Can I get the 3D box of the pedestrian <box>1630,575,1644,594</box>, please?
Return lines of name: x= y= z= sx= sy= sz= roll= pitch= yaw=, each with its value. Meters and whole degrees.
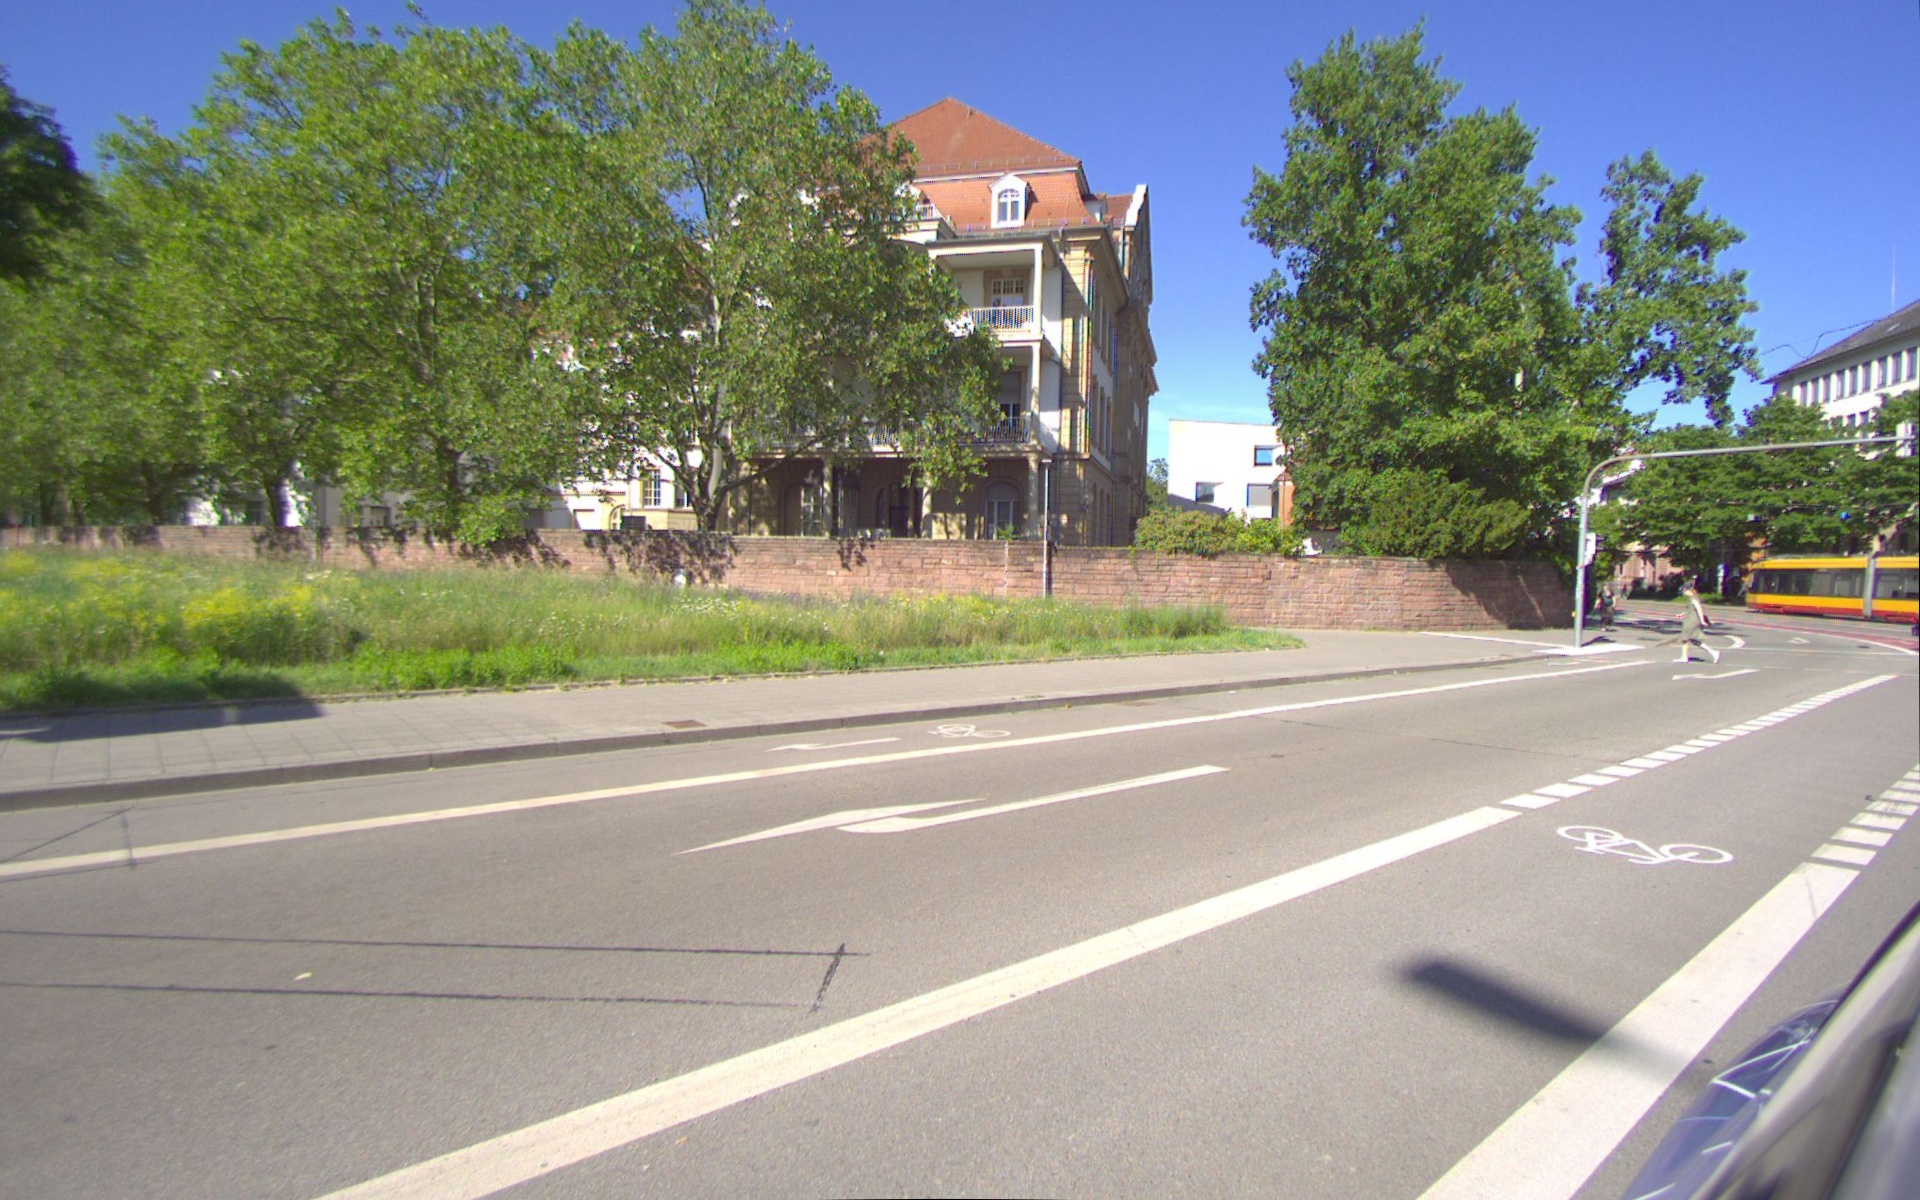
pedestrian: x=65.946 y=-1.530 z=98.616 sx=0.745 sy=1.835 sz=0.978 roll=1 pitch=1 yaw=9

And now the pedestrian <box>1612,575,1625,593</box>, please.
pedestrian: x=68.684 y=-1.643 z=105.490 sx=0.745 sy=1.835 sz=0.978 roll=1 pitch=1 yaw=10

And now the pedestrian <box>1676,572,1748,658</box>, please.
pedestrian: x=17.254 y=0.317 z=23.258 sx=1.221 sy=1.878 sz=0.817 roll=2 pitch=2 yaw=34

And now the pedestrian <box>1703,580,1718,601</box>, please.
pedestrian: x=68.240 y=-0.860 z=92.024 sx=0.745 sy=1.835 sz=0.978 roll=0 pitch=2 yaw=-43

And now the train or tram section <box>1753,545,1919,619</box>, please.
train or tram section: x=49.397 y=-1.069 z=56.682 sx=2.760 sy=3.645 sz=12.489 roll=2 pitch=2 yaw=13

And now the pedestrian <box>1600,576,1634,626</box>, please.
pedestrian: x=23.695 y=0.027 z=36.491 sx=0.935 sy=1.742 sz=0.983 roll=2 pitch=2 yaw=37

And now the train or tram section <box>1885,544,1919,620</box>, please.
train or tram section: x=46.490 y=-0.718 z=44.577 sx=2.760 sy=3.645 sz=12.279 roll=2 pitch=2 yaw=13
